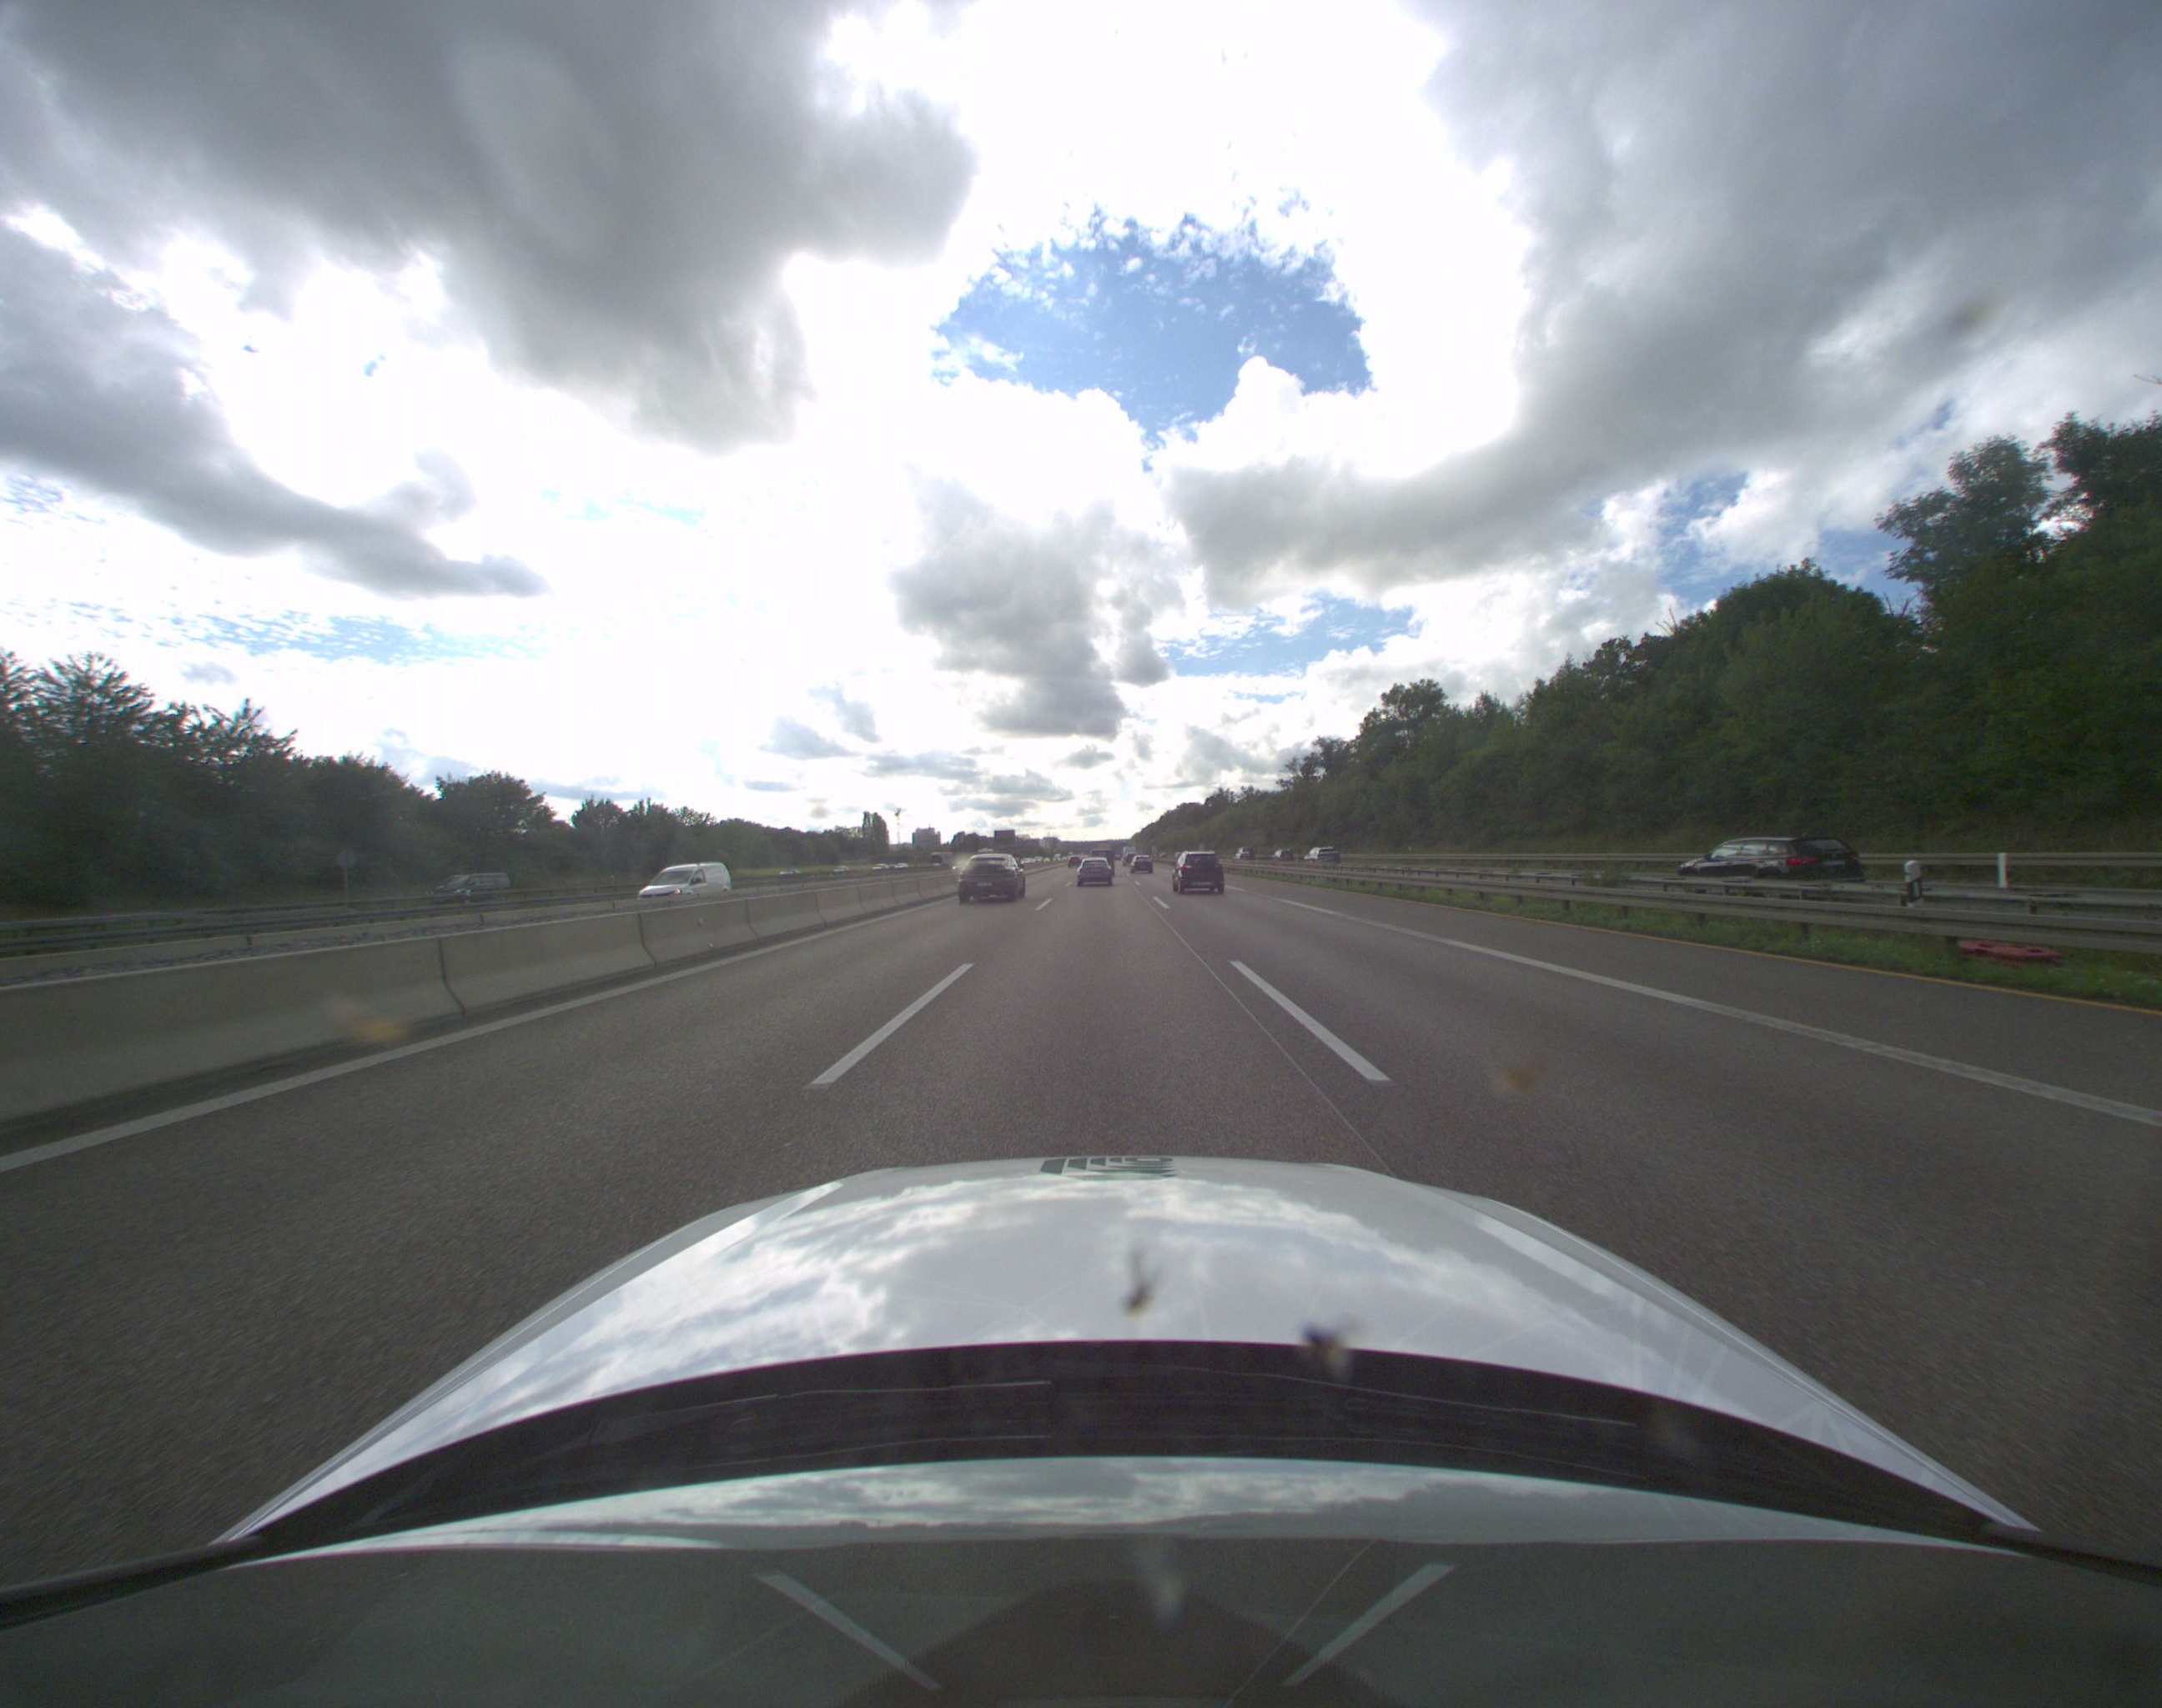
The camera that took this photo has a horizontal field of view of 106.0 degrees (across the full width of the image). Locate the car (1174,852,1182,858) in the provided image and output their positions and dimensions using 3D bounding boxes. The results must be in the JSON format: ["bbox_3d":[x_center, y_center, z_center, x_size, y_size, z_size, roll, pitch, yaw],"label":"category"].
[{"bbox_3d":[26.675,0.256,224.362,1.746,1.517,4.190,-1,0,0],"label":"car"}]

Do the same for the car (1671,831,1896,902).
[{"bbox_3d":[17.494,0.280,20.647,1.836,1.484,4.527,-4,0,2],"label":"car"}]

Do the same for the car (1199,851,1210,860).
[{"bbox_3d":[24.936,0.272,164.441,1.746,1.695,4.191,-1,0,1],"label":"car"}]

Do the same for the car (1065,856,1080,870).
[{"bbox_3d":[-1.121,1.145,107.136,1.866,1.698,4.073,-1,0,1],"label":"car"}]

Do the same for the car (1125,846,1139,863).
[{"bbox_3d":[7.206,0.026,115.674,1.866,2.357,4.283,-1,0,1],"label":"car"}]

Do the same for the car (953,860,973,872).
[{"bbox_3d":[-13.817,1.432,95.701,1.574,1.284,4.243,-2,0,2],"label":"car"}]

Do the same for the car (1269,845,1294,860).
[{"bbox_3d":[23.054,-0.139,93.709,1.723,1.546,4.305,-4,0,0],"label":"car"}]

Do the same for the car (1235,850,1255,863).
[{"bbox_3d":[19.721,0.332,98.144,1.590,1.546,4.189,-1,0,0],"label":"car"}]

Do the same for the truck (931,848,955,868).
[{"bbox_3d":[-34.497,1.020,204.422,3.062,4.802,14.132,-1,0,2],"label":"truck"}]

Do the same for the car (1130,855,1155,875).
[{"bbox_3d":[5.077,0.907,67.803,1.825,1.521,4.226,-1,0,1],"label":"car"}]

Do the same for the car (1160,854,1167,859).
[{"bbox_3d":[23.423,0.728,231.296,1.722,1.533,4.453,-2,0,1],"label":"car"}]

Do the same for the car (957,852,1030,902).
[{"bbox_3d":[-3.110,0.764,29.997,1.905,1.636,5.502,-1,0,1],"label":"car"}]

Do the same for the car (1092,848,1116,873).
[{"bbox_3d":[1.692,0.464,60.046,1.714,1.724,4.392,-1,0,1],"label":"car"}]

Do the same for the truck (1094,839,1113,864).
[{"bbox_3d":[4.190,-0.437,150.106,3.251,4.375,11.029,-1,0,2],"label":"truck"}]

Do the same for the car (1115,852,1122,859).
[{"bbox_3d":[9.864,0.312,213.505,1.746,1.695,4.191,-1,0,1],"label":"car"}]

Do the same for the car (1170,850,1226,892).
[{"bbox_3d":[4.617,0.644,32.679,1.691,1.564,4.114,-1,0,1],"label":"car"}]

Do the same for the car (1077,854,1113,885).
[{"bbox_3d":[0.735,0.747,42.145,1.714,1.479,4.392,-1,0,1],"label":"car"}]

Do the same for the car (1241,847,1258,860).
[{"bbox_3d":[24.250,-0.084,117.275,1.590,1.804,3.824,-1,0,0],"label":"car"}]

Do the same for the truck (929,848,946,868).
[{"bbox_3d":[-34.757,0.983,197.546,3.034,4.659,5.075,-1,0,2],"label":"truck"}]

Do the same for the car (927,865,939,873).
[{"bbox_3d":[-31.865,3.204,175.422,1.722,1.533,4.454,-1,0,2],"label":"car"}]

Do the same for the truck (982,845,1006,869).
[{"bbox_3d":[-15.911,0.522,149.539,3.036,4.289,8.590,-2,0,1],"label":"truck"}]

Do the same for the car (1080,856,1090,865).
[{"bbox_3d":[0.790,1.243,152.047,1.691,1.611,4.114,-1,0,1],"label":"car"}]

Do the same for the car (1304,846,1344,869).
[{"bbox_3d":[18.890,0.233,63.430,1.840,1.650,4.307,-4,0,2],"label":"car"}]

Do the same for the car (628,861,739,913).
[{"bbox_3d":[-15.392,1.219,31.874,1.727,1.794,5.125,-2,0,1],"label":"car"}]

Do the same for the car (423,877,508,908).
[{"bbox_3d":[-38.762,2.374,51.460,1.875,1.662,4.421,-2,0,2],"label":"car"}]

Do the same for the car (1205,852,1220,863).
[{"bbox_3d":[20.802,0.498,129.239,1.746,1.695,4.191,-1,0,1],"label":"car"}]

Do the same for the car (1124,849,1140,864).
[{"bbox_3d":[6.836,0.363,108.914,1.906,1.919,4.031,-1,0,1],"label":"car"}]

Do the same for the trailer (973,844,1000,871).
[{"bbox_3d":[-16.097,0.612,139.594,3.036,4.288,10.657,-2,0,1],"label":"trailer"}]
